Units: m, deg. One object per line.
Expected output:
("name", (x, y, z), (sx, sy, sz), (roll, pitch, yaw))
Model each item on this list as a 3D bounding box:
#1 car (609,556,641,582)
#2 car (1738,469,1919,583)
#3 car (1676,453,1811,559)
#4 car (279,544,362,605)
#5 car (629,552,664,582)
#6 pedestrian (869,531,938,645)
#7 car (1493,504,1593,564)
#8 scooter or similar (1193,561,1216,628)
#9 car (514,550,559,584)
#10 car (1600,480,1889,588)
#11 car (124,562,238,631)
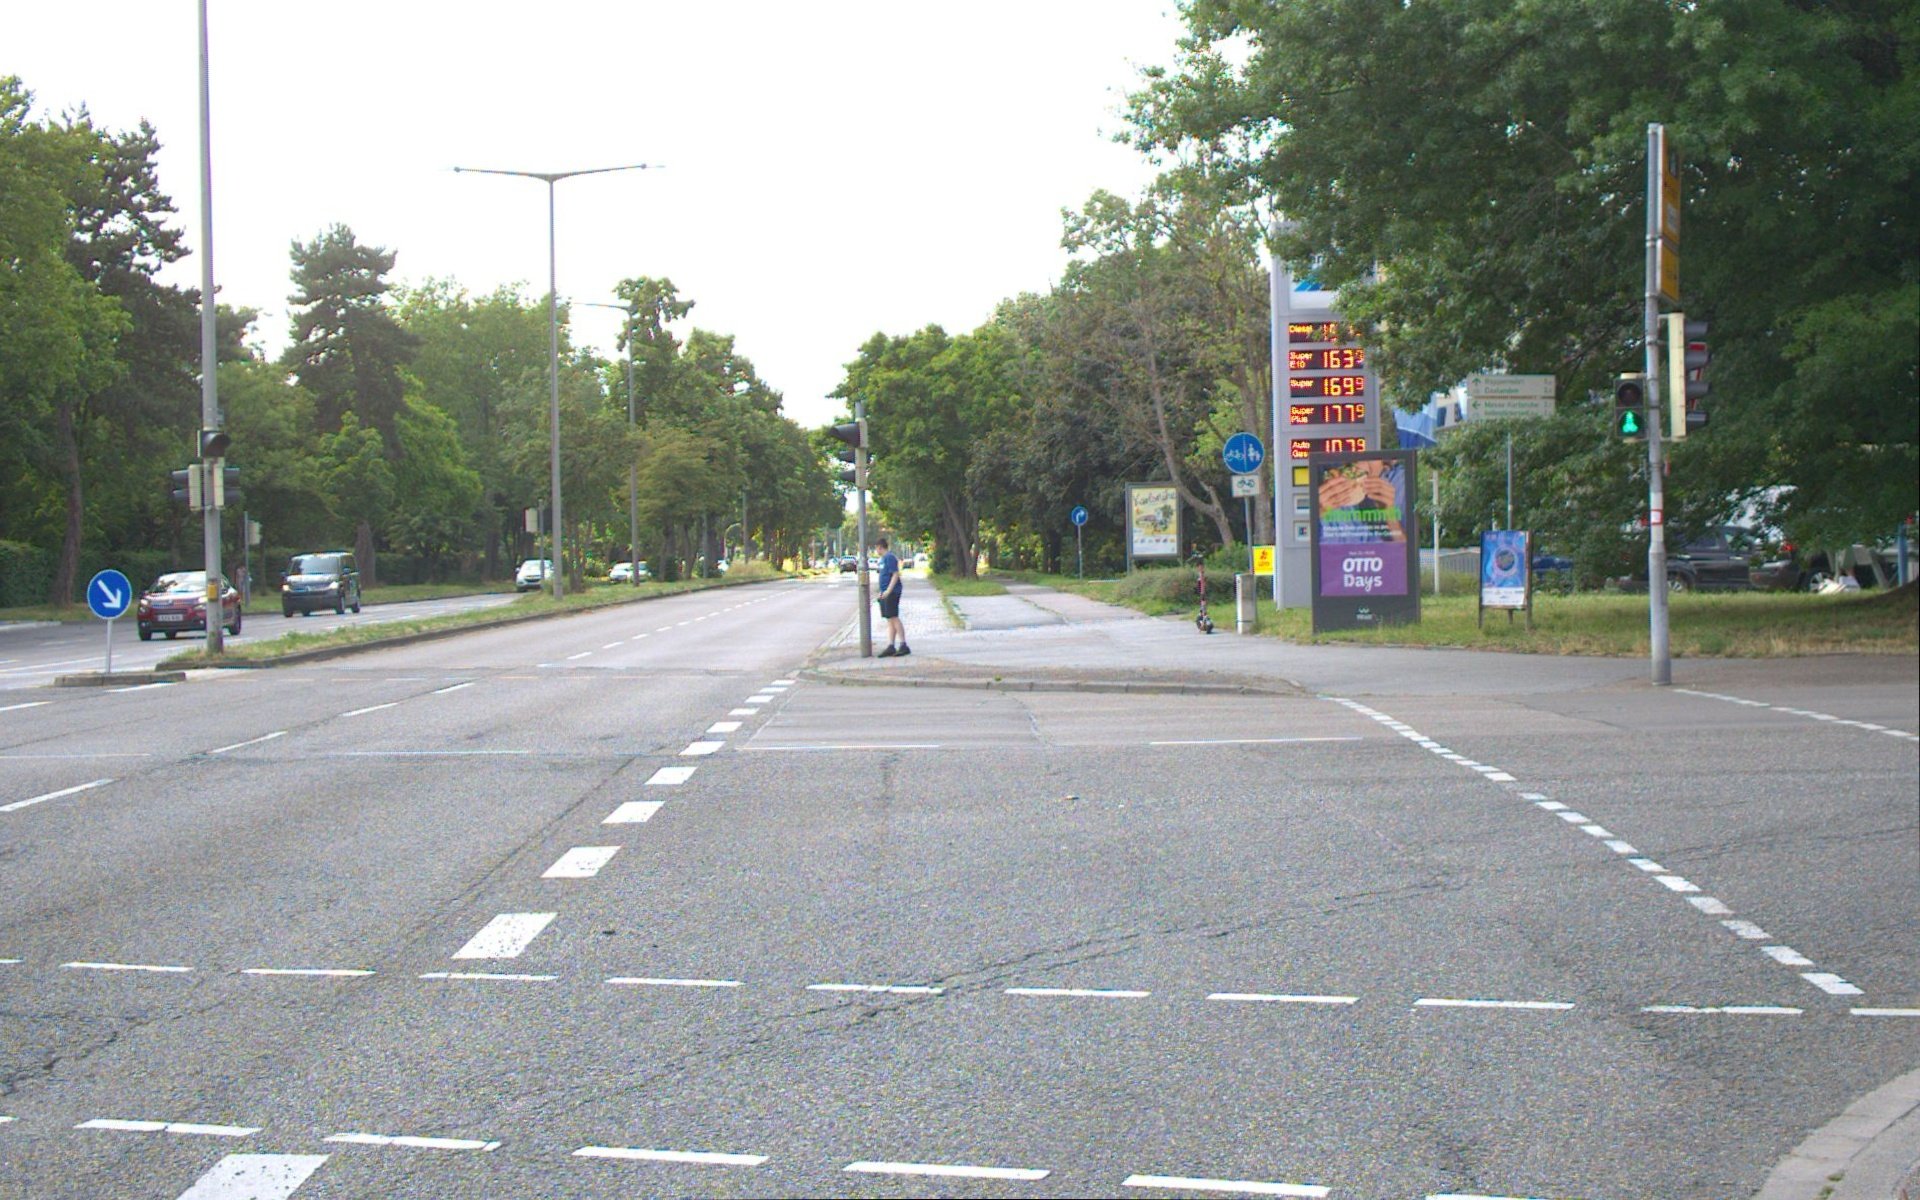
("car", (-22.607, -2.097, 232.065), (1.860, 1.699, 4.456), (-2, 1, -3))
("car", (15.960, -1.269, 57.696), (5.179, 1.820, 2.154), (-2, 1, -11))
("car", (19.150, -2.263, 84.262), (1.750, 2.445, 5.751), (-1, 1, -2))
("car", (-20.429, -0.829, 110.057), (1.765, 1.850, 4.817), (-1, 1, -1))
("car", (-18.458, -1.970, 202.564), (1.860, 1.699, 4.456), (-2, 1, -3))
("pedestrian", (-0.780, -0.171, 47.132), (0.725, 1.526, 0.760), (-2, 1, -17))
("car", (14.785, -1.654, 87.321), (1.750, 1.449, 3.741), (-1, 1, -2))
("scooter or similar", (3.653, -0.092, 51.369), (0.221, 0.976, 1.272), (-1, 1, 0))
("car", (-21.967, -1.707, 178.250), (1.860, 1.699, 4.456), (-1, 1, -2))
("car", (15.613, -1.321, 68.619), (5.180, 1.997, 2.154), (-1, 1, -4))
("car", (-17.522, -0.105, 77.485), (1.771, 1.460, 4.456), (-1, 1, -3))
